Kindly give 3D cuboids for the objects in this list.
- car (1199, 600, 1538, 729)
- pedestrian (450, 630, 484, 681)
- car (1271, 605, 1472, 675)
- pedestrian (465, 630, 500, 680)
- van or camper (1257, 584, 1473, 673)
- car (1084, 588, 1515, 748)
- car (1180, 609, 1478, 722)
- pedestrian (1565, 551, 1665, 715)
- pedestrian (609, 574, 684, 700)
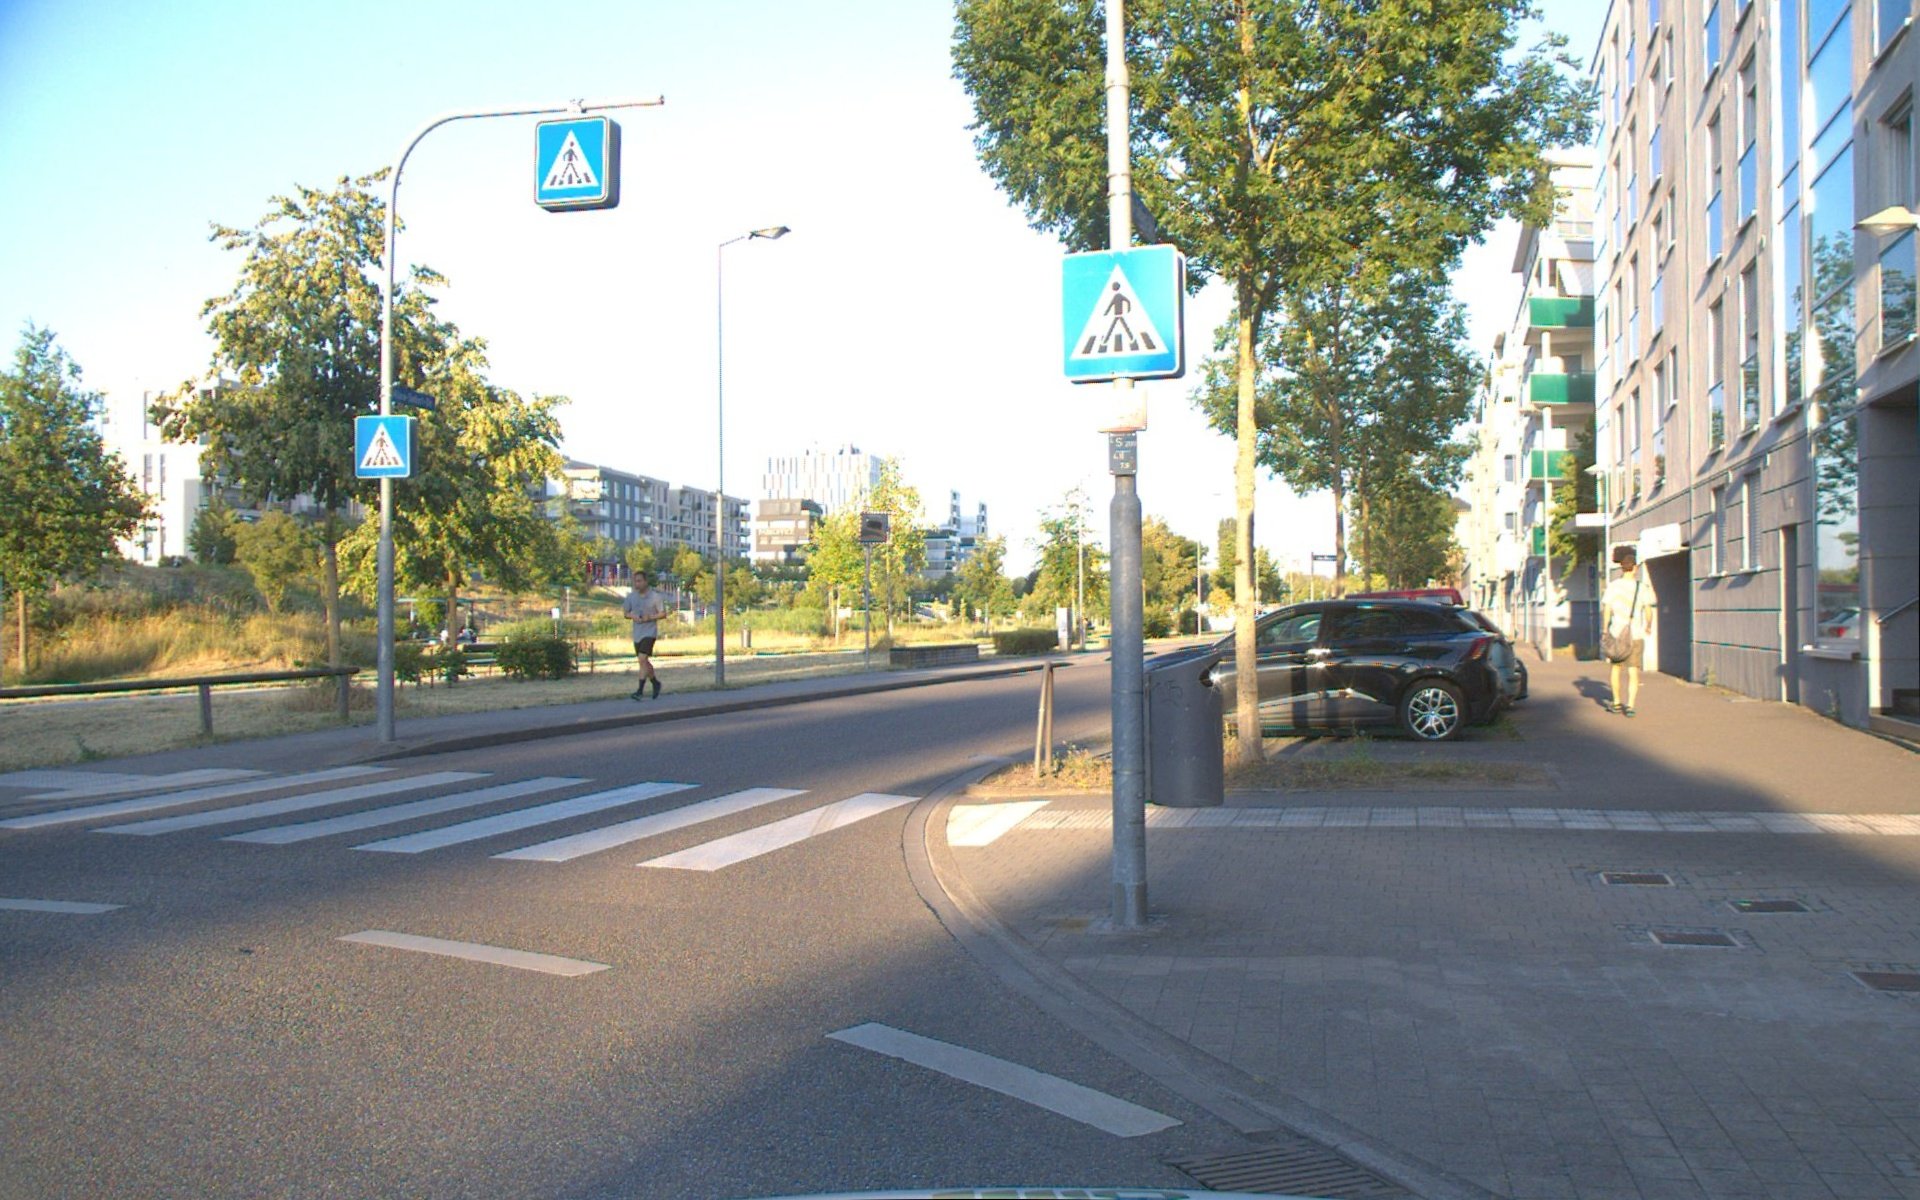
[{"bbox_3d":[5.072,0.799,20.739,3.908,1.398,1.561,-3,-1,14],"label":"car"},{"bbox_3d":[-10.106,1.137,33.901,0.487,1.022,0.482,0,-1,11],"label":"pedestrian"},{"bbox_3d":[9.354,0.889,37.733,4.357,1.548,1.702,0,-1,14],"label":"car"},{"bbox_3d":[-9.984,1.145,34.617,0.487,1.022,0.571,0,-1,11],"label":"pedestrian"},{"bbox_3d":[9.851,0.686,40.393,5.006,2.096,1.879,0,-1,13],"label":"van or camper"},{"bbox_3d":[3.717,0.749,18.250,4.371,1.513,1.834,-3,-1,14],"label":"car"},{"bbox_3d":[5.190,0.883,23.349,3.957,1.505,1.702,0,-1,14],"label":"car"},{"bbox_3d":[7.939,0.400,20.100,0.956,1.927,1.050,-2,-1,15],"label":"pedestrian"},{"bbox_3d":[-4.449,0.519,23.502,0.749,1.760,0.802,0,-1,20],"label":"pedestrian"}]
